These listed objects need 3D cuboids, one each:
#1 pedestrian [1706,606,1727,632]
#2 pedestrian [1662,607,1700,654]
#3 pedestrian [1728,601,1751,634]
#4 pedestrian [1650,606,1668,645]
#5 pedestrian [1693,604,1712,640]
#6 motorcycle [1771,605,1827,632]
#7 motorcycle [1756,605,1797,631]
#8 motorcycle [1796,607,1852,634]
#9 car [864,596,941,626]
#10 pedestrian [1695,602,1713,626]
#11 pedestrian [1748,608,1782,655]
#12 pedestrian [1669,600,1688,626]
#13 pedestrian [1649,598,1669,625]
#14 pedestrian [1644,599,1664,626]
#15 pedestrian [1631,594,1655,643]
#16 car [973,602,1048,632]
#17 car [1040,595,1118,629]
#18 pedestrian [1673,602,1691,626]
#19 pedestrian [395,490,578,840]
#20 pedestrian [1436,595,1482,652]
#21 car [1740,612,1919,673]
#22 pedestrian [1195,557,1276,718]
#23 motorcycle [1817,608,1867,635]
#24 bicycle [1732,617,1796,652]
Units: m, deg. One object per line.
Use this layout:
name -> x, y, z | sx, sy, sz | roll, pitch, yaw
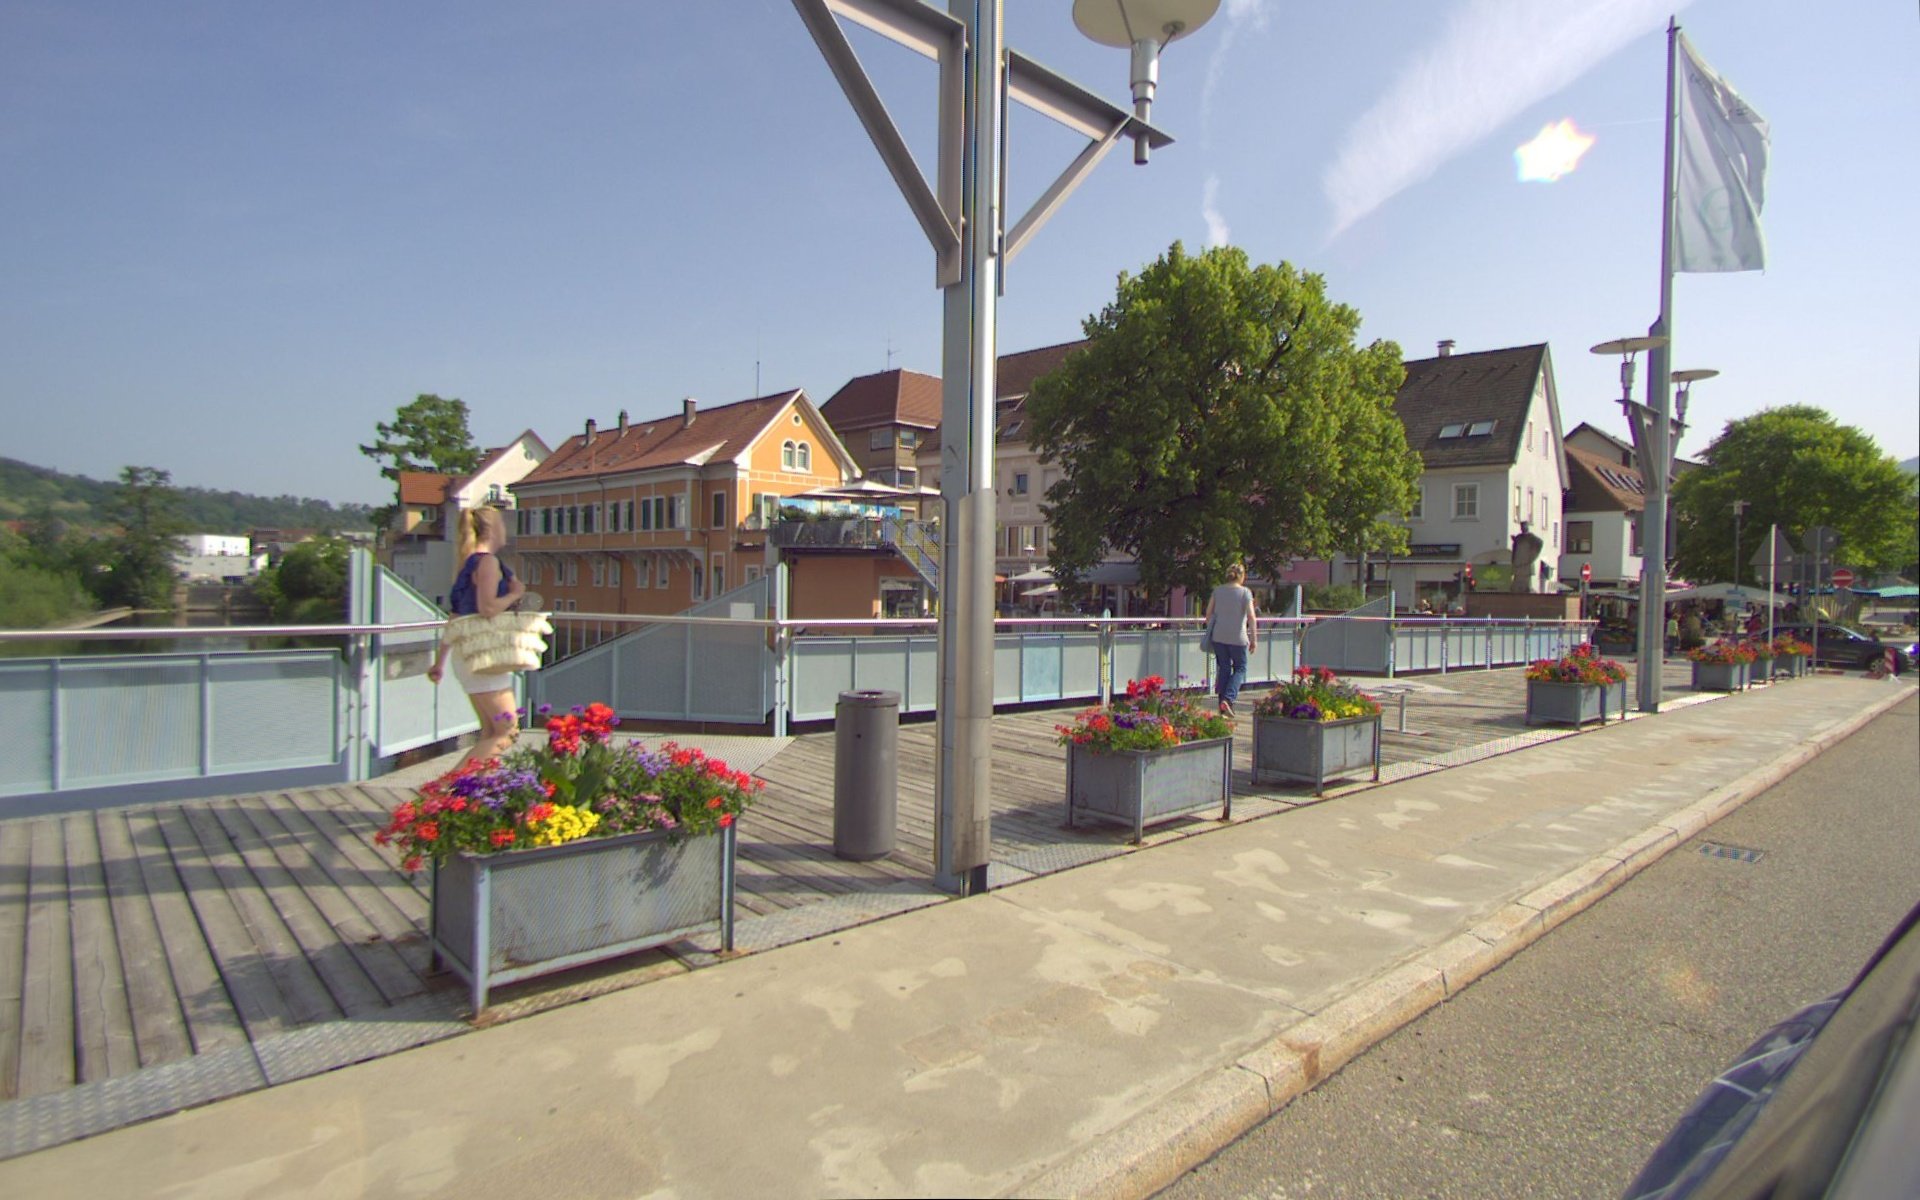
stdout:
pedestrian -> 37.485, 0.953, 50.156 | 0.694, 1.215, 0.566 | 4, 3, 33
pedestrian -> 26.800, 1.132, 37.645 | 0.841, 1.652, 0.790 | -1, 2, -14
pedestrian -> 38.553, 0.875, 50.076 | 0.562, 1.572, 0.699 | 0, 3, -38
pedestrian -> 30.316, 1.099, 43.904 | 0.520, 1.647, 0.696 | 2, 0, 42
pedestrian -> 32.385, 0.972, 44.135 | 0.618, 1.537, 0.625 | 2, 0, 36
motorcycle -> 42.641, 0.945, 51.459 | 0.630, 1.210, 2.009 | 0, 4, -30
motorcycle -> 42.577, 0.913, 52.804 | 0.633, 1.210, 1.530 | 0, 4, -44
motorcycle -> 43.708, 1.024, 51.226 | 0.630, 1.210, 2.009 | 1, 3, -30
car -> -3.303, 0.582, 57.486 | 4.579, 1.617, 1.723 | 1, 1, 44
pedestrian -> 39.084, 0.742, 53.149 | 0.640, 1.215, 0.571 | 0, 4, -43
pedestrian -> 30.330, 1.183, 38.131 | 0.878, 1.678, 0.565 | 4, 3, 35
pedestrian -> 37.767, 0.673, 53.202 | 0.687, 1.347, 0.626 | 0, 3, -41
pedestrian -> 36.981, 0.606, 53.538 | 0.687, 1.347, 0.626 | 0, 3, -41
pedestrian -> 36.304, 0.638, 52.932 | 0.687, 1.347, 0.626 | 0, 3, -41
pedestrian -> 28.189, 0.752, 41.781 | 0.700, 2.010, 0.647 | 2, 0, 25
car -> 2.760, 0.903, 55.523 | 3.988, 1.466, 1.708 | 2, 1, 45
car -> 6.563, 0.623, 56.040 | 4.132, 1.761, 1.685 | 1, 2, 44
pedestrian -> 37.096, 0.710, 52.010 | 0.640, 1.215, 0.571 | 0, 4, -43
pedestrian -> -2.607, 0.321, 5.564 | 0.734, 1.745, 0.727 | 1, 0, -40
pedestrian -> 16.944, 0.806, 34.363 | 0.889, 1.838, 1.022 | 4, -3, -7
car -> 26.531, 1.234, 30.618 | 4.485, 1.585, 1.797 | 1, 2, 44
pedestrian -> 2.912, 0.378, 10.707 | 0.664, 1.639, 0.556 | 1, 0, 35
motorcycle -> 44.824, 1.072, 51.451 | 0.631, 1.210, 2.008 | 3, 3, -3
bicycle -> 31.026, 1.313, 39.092 | 1.849, 1.250, 0.610 | 1, 0, 34
